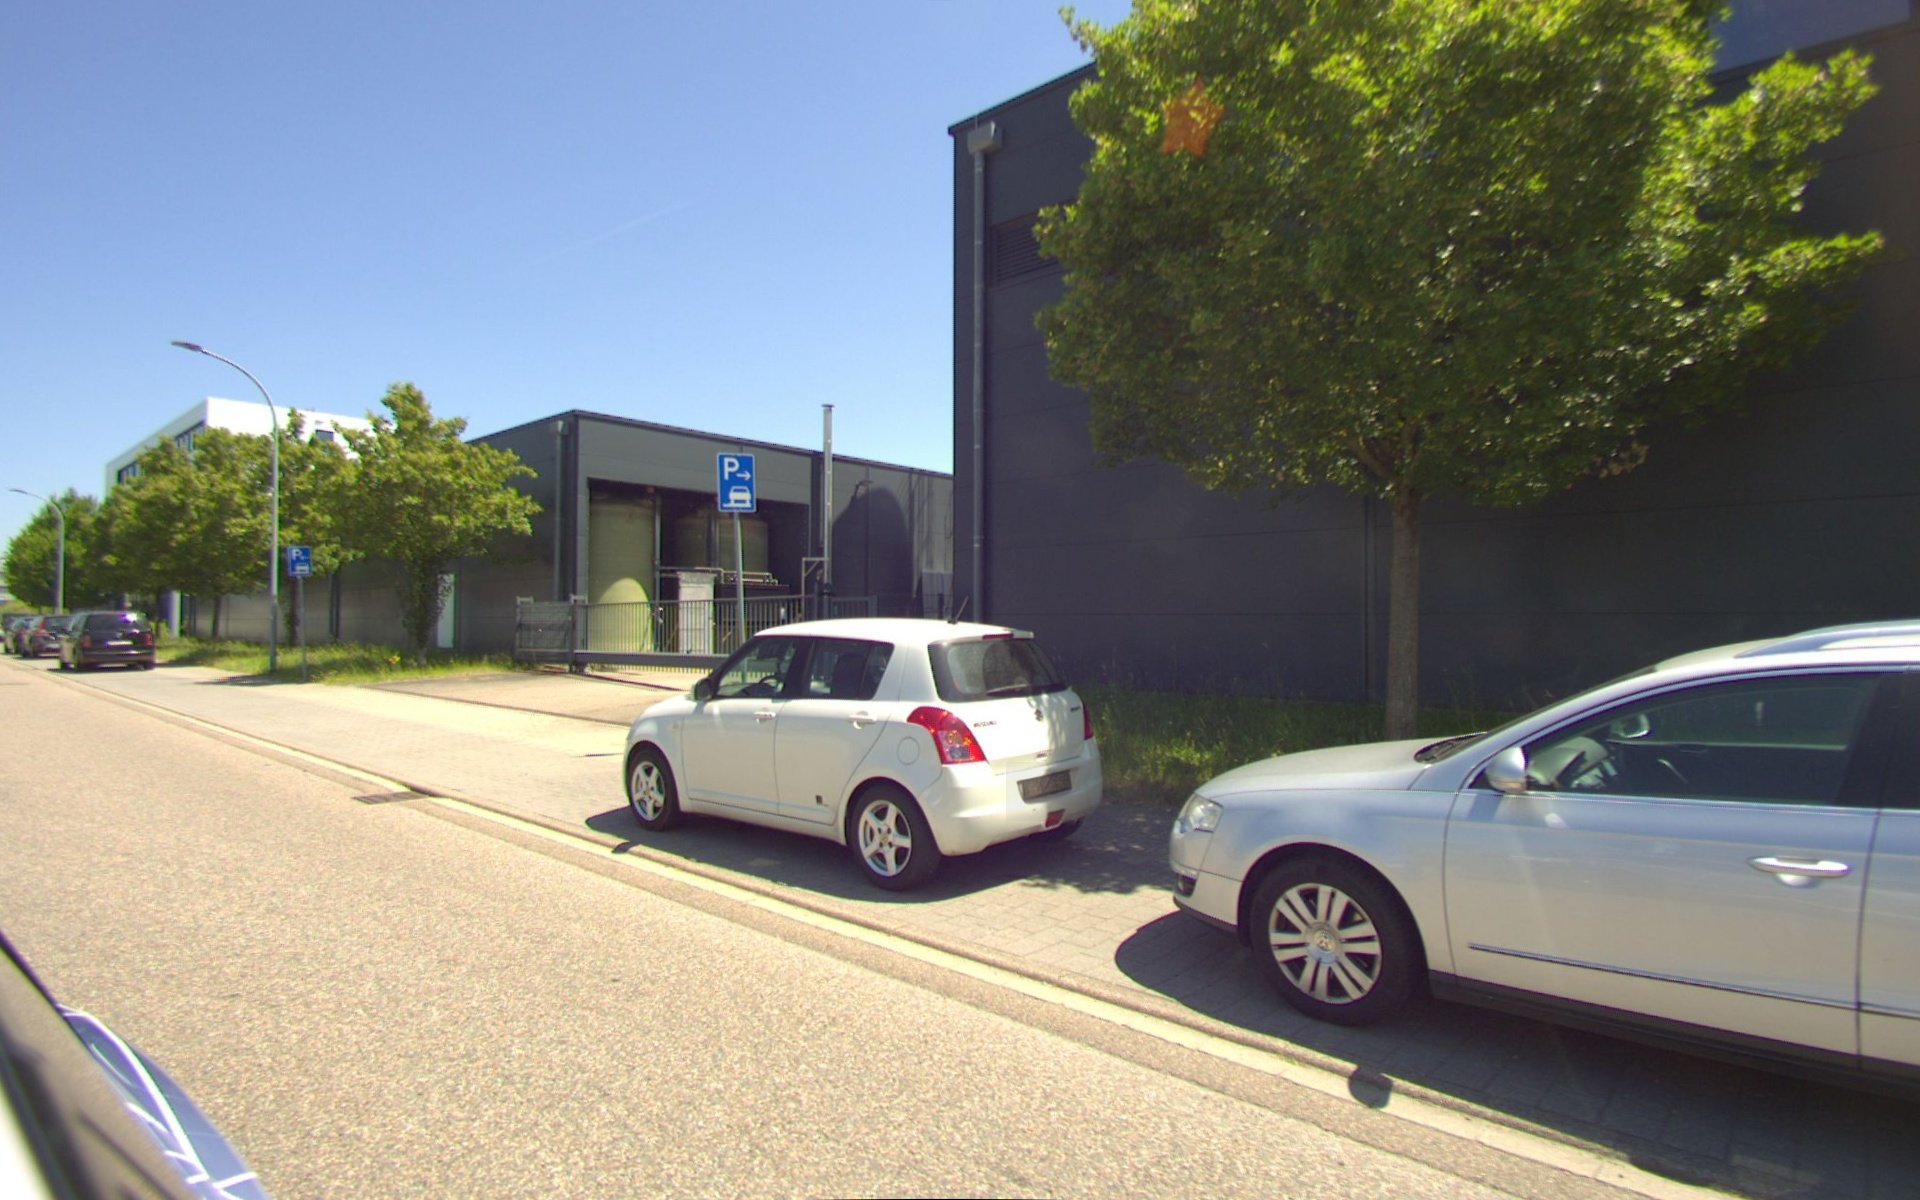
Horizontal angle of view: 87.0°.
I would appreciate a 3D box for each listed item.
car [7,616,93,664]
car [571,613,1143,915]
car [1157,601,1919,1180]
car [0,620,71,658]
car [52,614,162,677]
[{"bbox_3d":[-32.972,1.408,36.630,4.850,1.624,1.752,-1,-1,41],"label":"car"},{"bbox_3d":[-0.876,0.846,6.907,3.854,1.487,1.703,-1,-1,40],"label":"car"},{"bbox_3d":[3.076,0.752,3.257,4.554,1.487,1.779,-1,-1,43],"label":"car"},{"bbox_3d":[-37.602,1.556,41.076,4.199,1.442,1.752,-1,-1,41],"label":"car"},{"bbox_3d":[-23.989,1.233,28.411,4.245,1.624,1.752,-1,-1,41],"label":"car"}]
